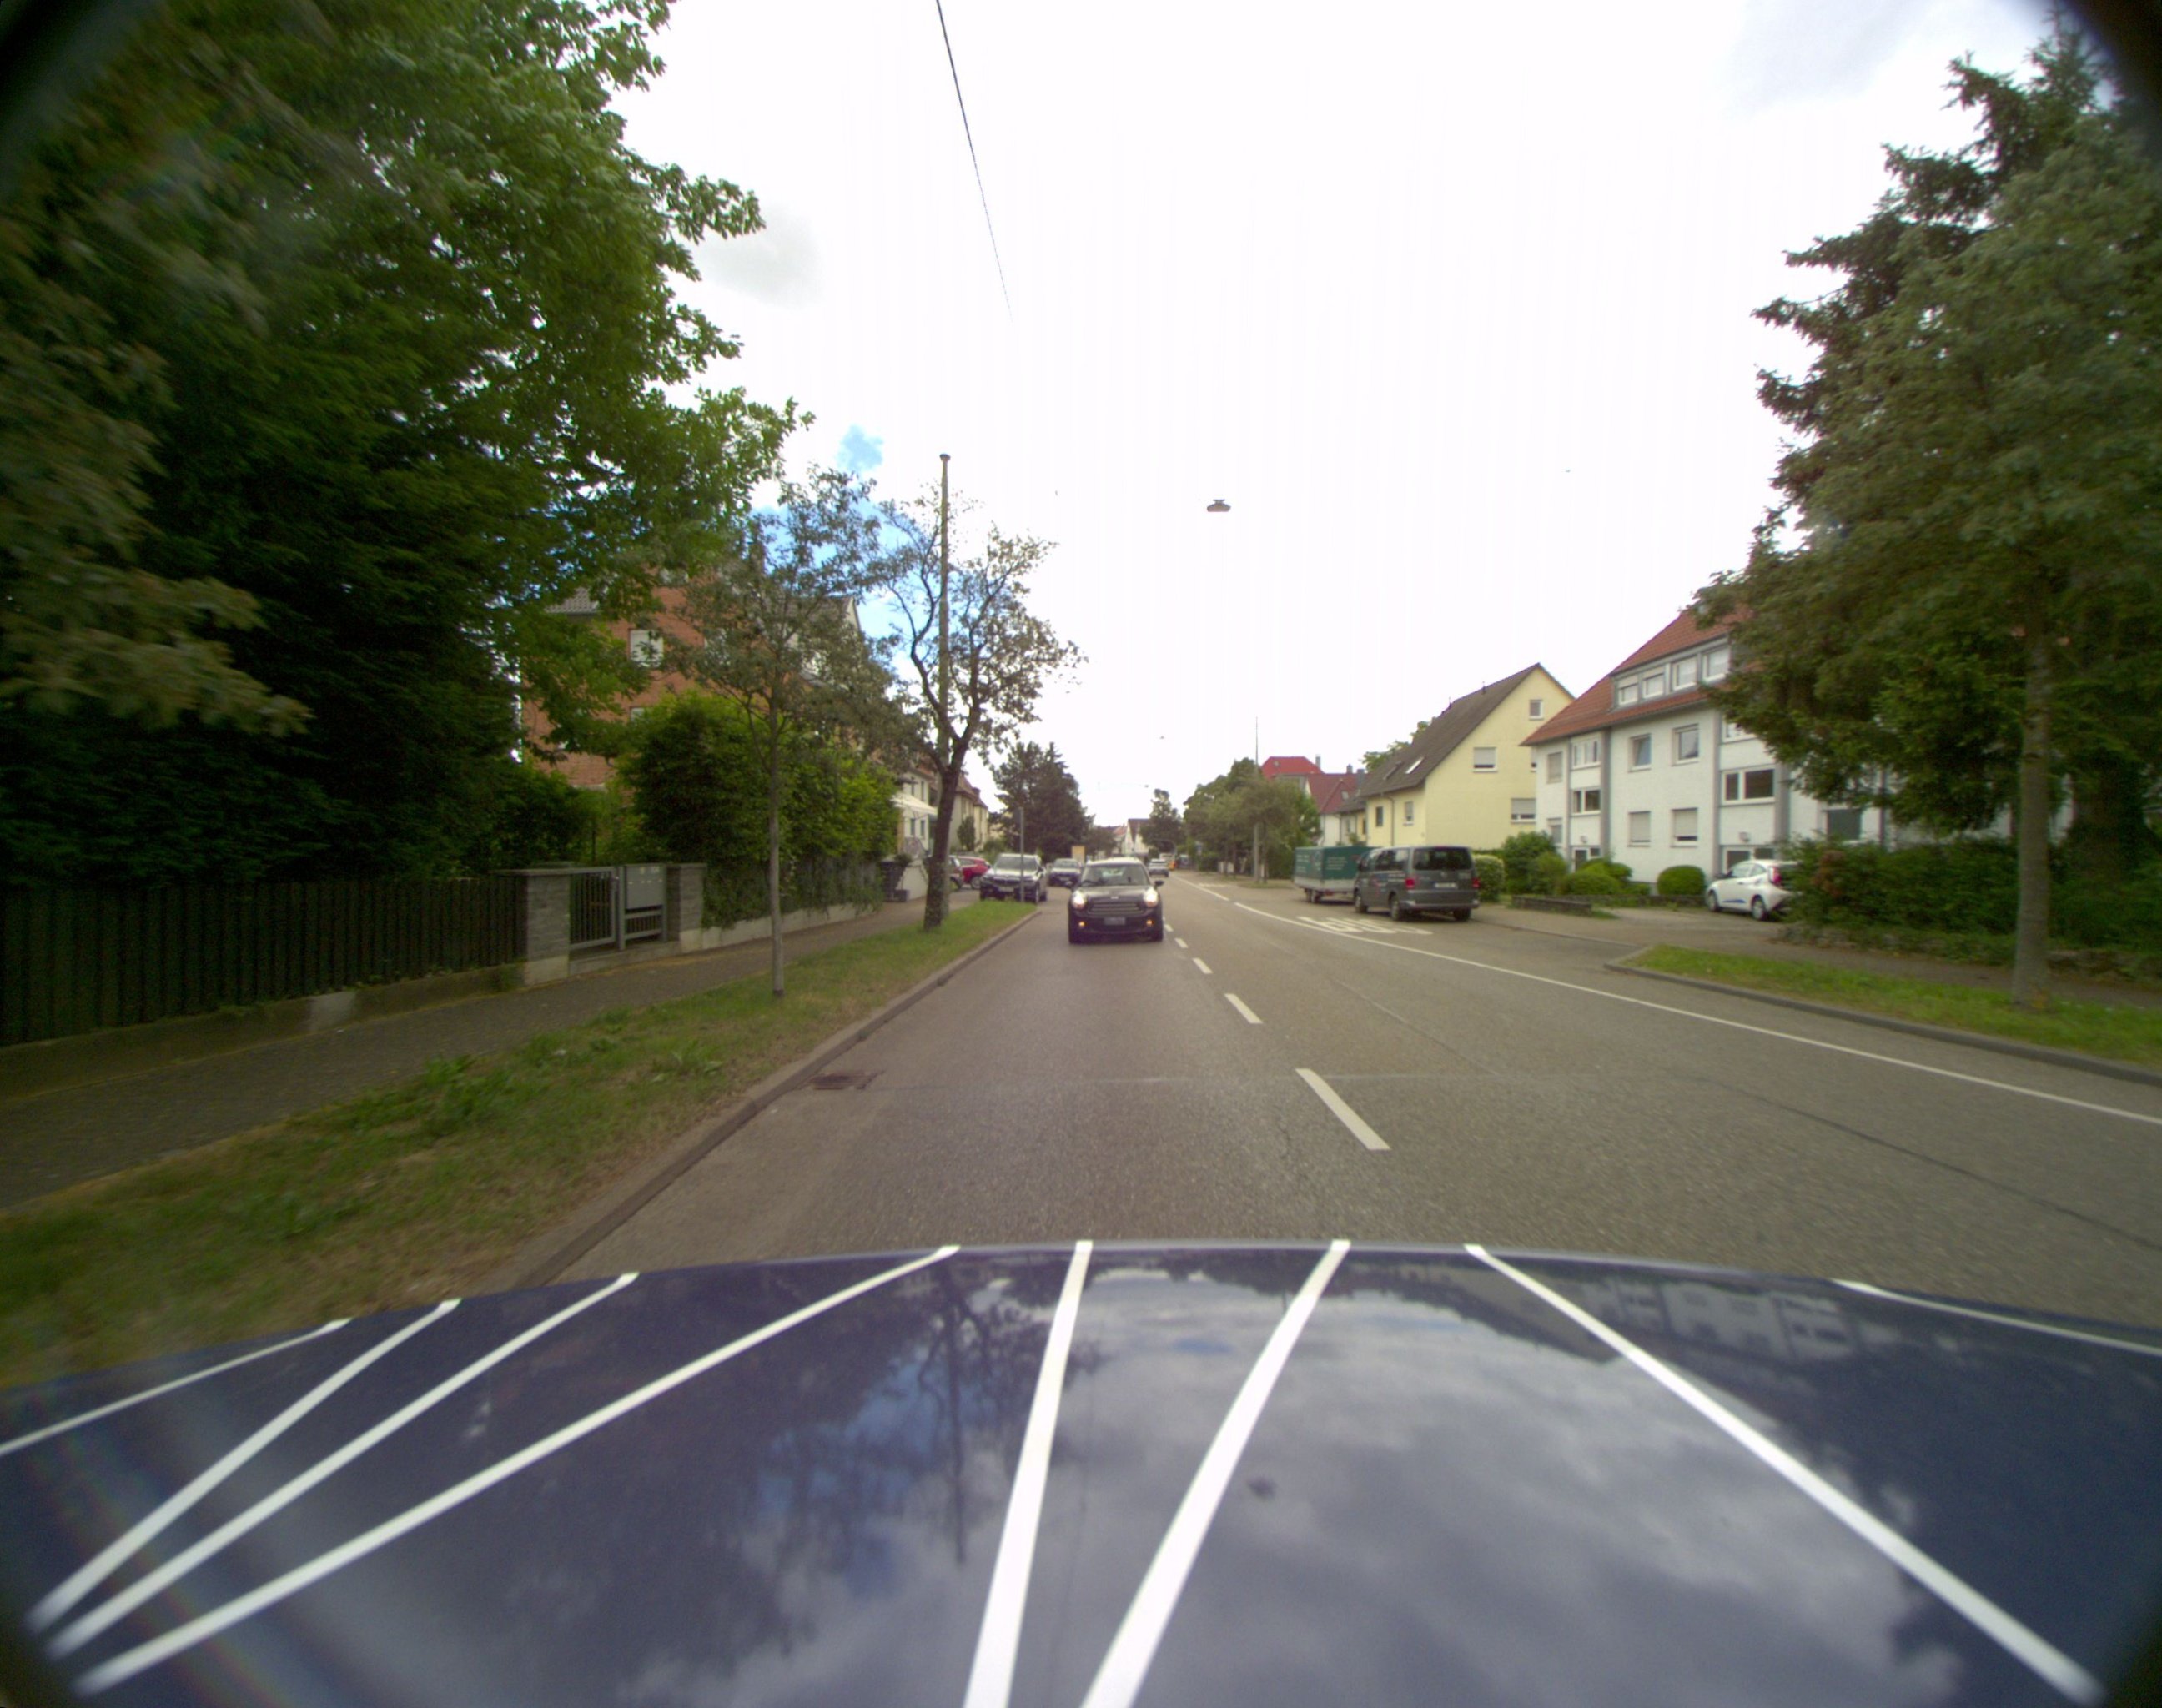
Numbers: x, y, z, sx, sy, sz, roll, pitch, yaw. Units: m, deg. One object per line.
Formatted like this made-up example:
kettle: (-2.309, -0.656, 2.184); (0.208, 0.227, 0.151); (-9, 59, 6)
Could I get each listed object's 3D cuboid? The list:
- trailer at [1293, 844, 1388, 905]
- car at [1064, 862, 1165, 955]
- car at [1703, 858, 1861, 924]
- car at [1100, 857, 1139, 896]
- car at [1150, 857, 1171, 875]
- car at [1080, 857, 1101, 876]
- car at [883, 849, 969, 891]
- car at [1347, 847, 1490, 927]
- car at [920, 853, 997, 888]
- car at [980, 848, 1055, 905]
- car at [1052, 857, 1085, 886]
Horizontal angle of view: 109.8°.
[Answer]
trailer: (9.414, 0.699, 28.020); (2.159, 2.076, 4.426); (0, 0, 2)
car: (0.720, 0.982, 15.267); (1.743, 1.573, 3.685); (-2, 0, 4)
car: (17.160, 0.834, 18.815); (1.627, 1.477, 3.431); (0, 0, 19)
car: (1.693, 0.918, 33.015); (1.590, 1.598, 3.685); (0, 0, 4)
car: (7.211, 1.055, 69.434); (1.825, 1.594, 4.300); (-1, 0, 5)
car: (0.865, 1.071, 66.944); (1.680, 1.573, 3.685); (0, 0, 4)
car: (-6.680, 0.665, 32.951); (3.360, 1.624, 1.580); (3, 0, -1)
car: (9.089, 0.799, 20.980); (1.998, 1.938, 4.899); (0, 0, 3)
car: (-5.740, 0.756, 35.917); (3.361, 1.450, 1.749); (3, 0, -4)
car: (-2.195, 0.747, 27.557); (1.902, 1.826, 4.916); (1, 0, 5)
car: (-0.698, 0.971, 44.857); (1.728, 1.582, 4.157); (1, 0, 1)
